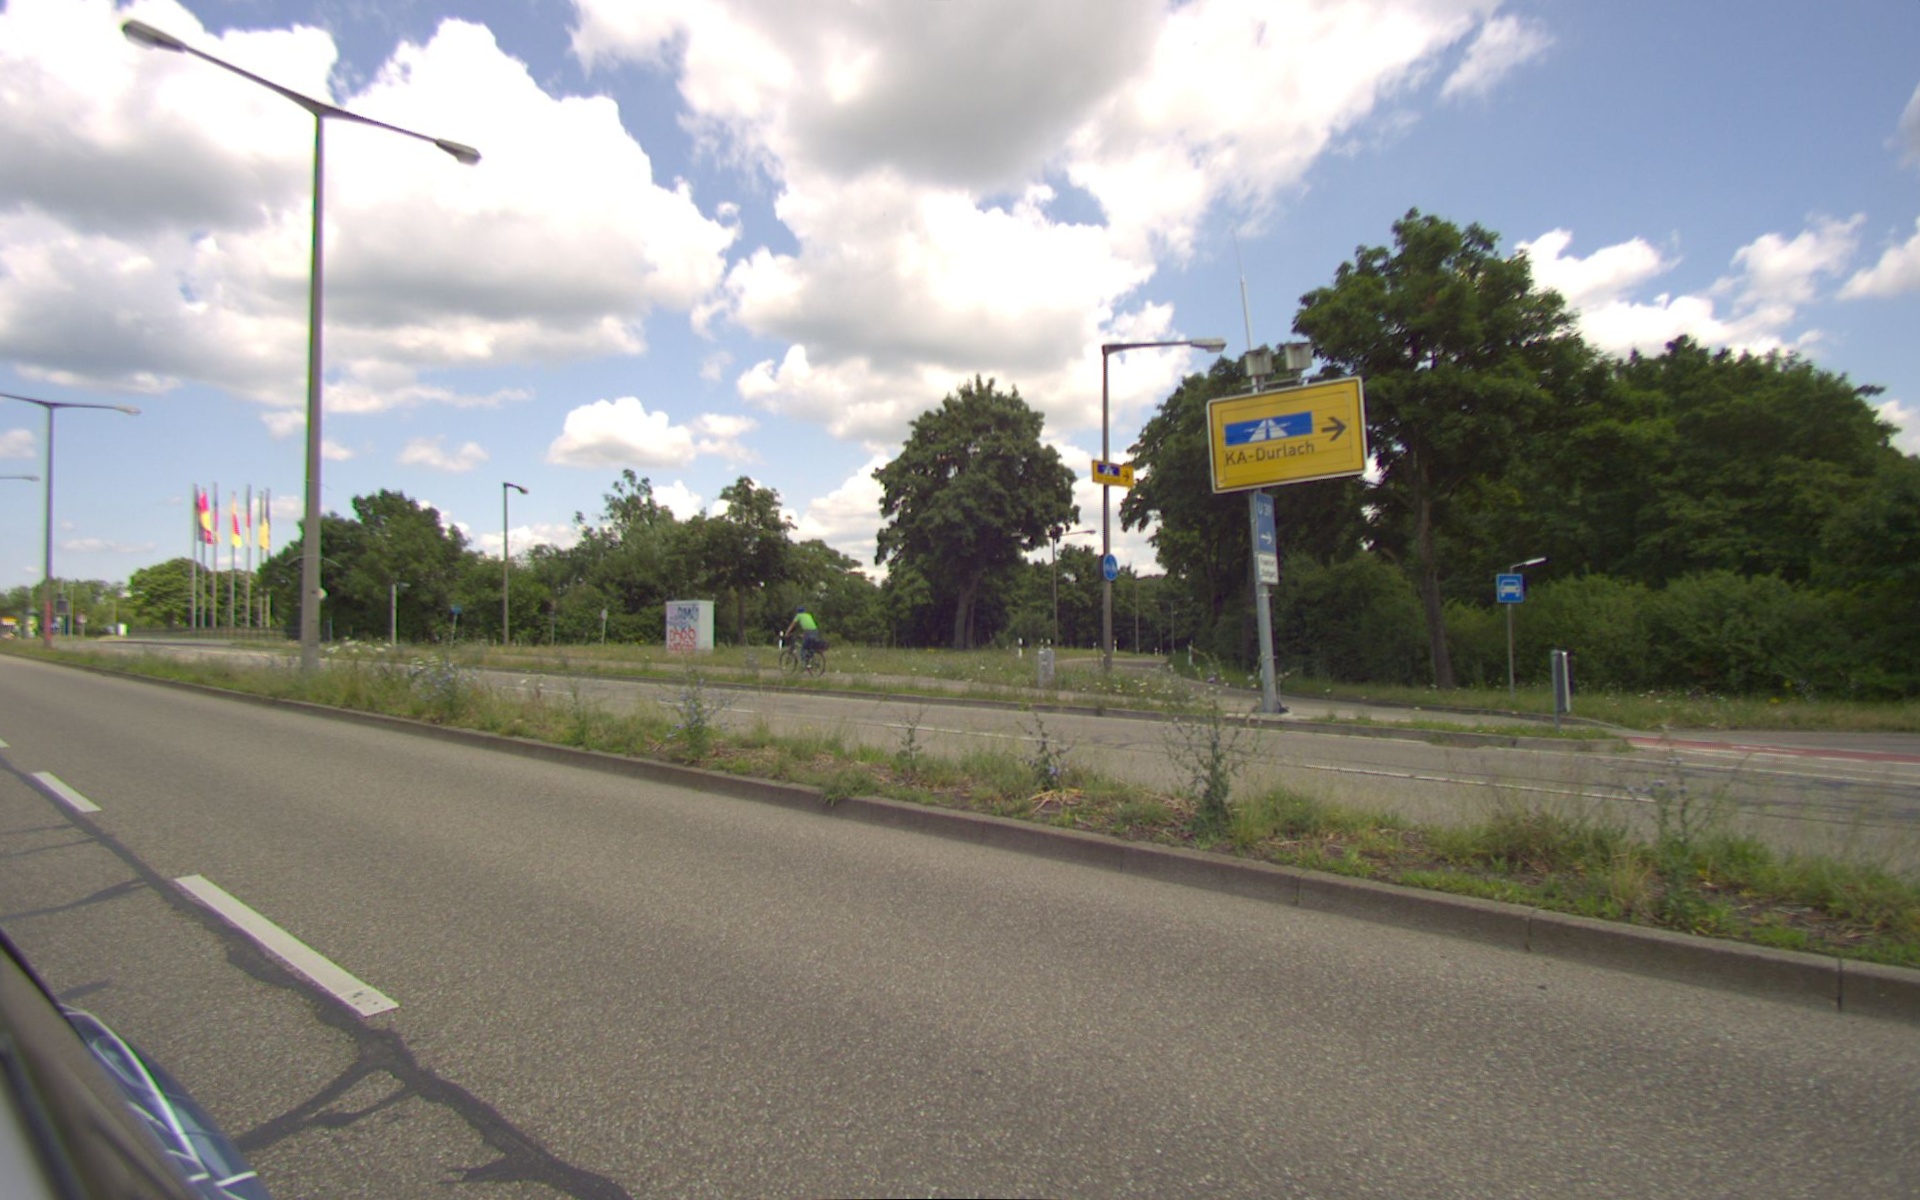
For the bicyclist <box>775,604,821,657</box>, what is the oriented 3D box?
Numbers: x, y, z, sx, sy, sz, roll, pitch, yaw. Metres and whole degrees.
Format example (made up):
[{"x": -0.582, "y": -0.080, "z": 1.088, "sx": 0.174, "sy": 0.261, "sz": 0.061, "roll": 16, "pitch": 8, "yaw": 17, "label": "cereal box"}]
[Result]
[{"x": -4.045, "y": 0.759, "z": 25.260, "sx": 1.105, "sy": 1.282, "sz": 0.515, "roll": -3, "pitch": -1, "yaw": 38, "label": "bicyclist"}]

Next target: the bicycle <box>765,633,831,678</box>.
[{"x": -4.049, "y": 1.387, "z": 25.259, "sx": 1.905, "sy": 1.076, "sz": 0.427, "roll": -3, "pitch": -1, "yaw": 38, "label": "bicycle"}]
